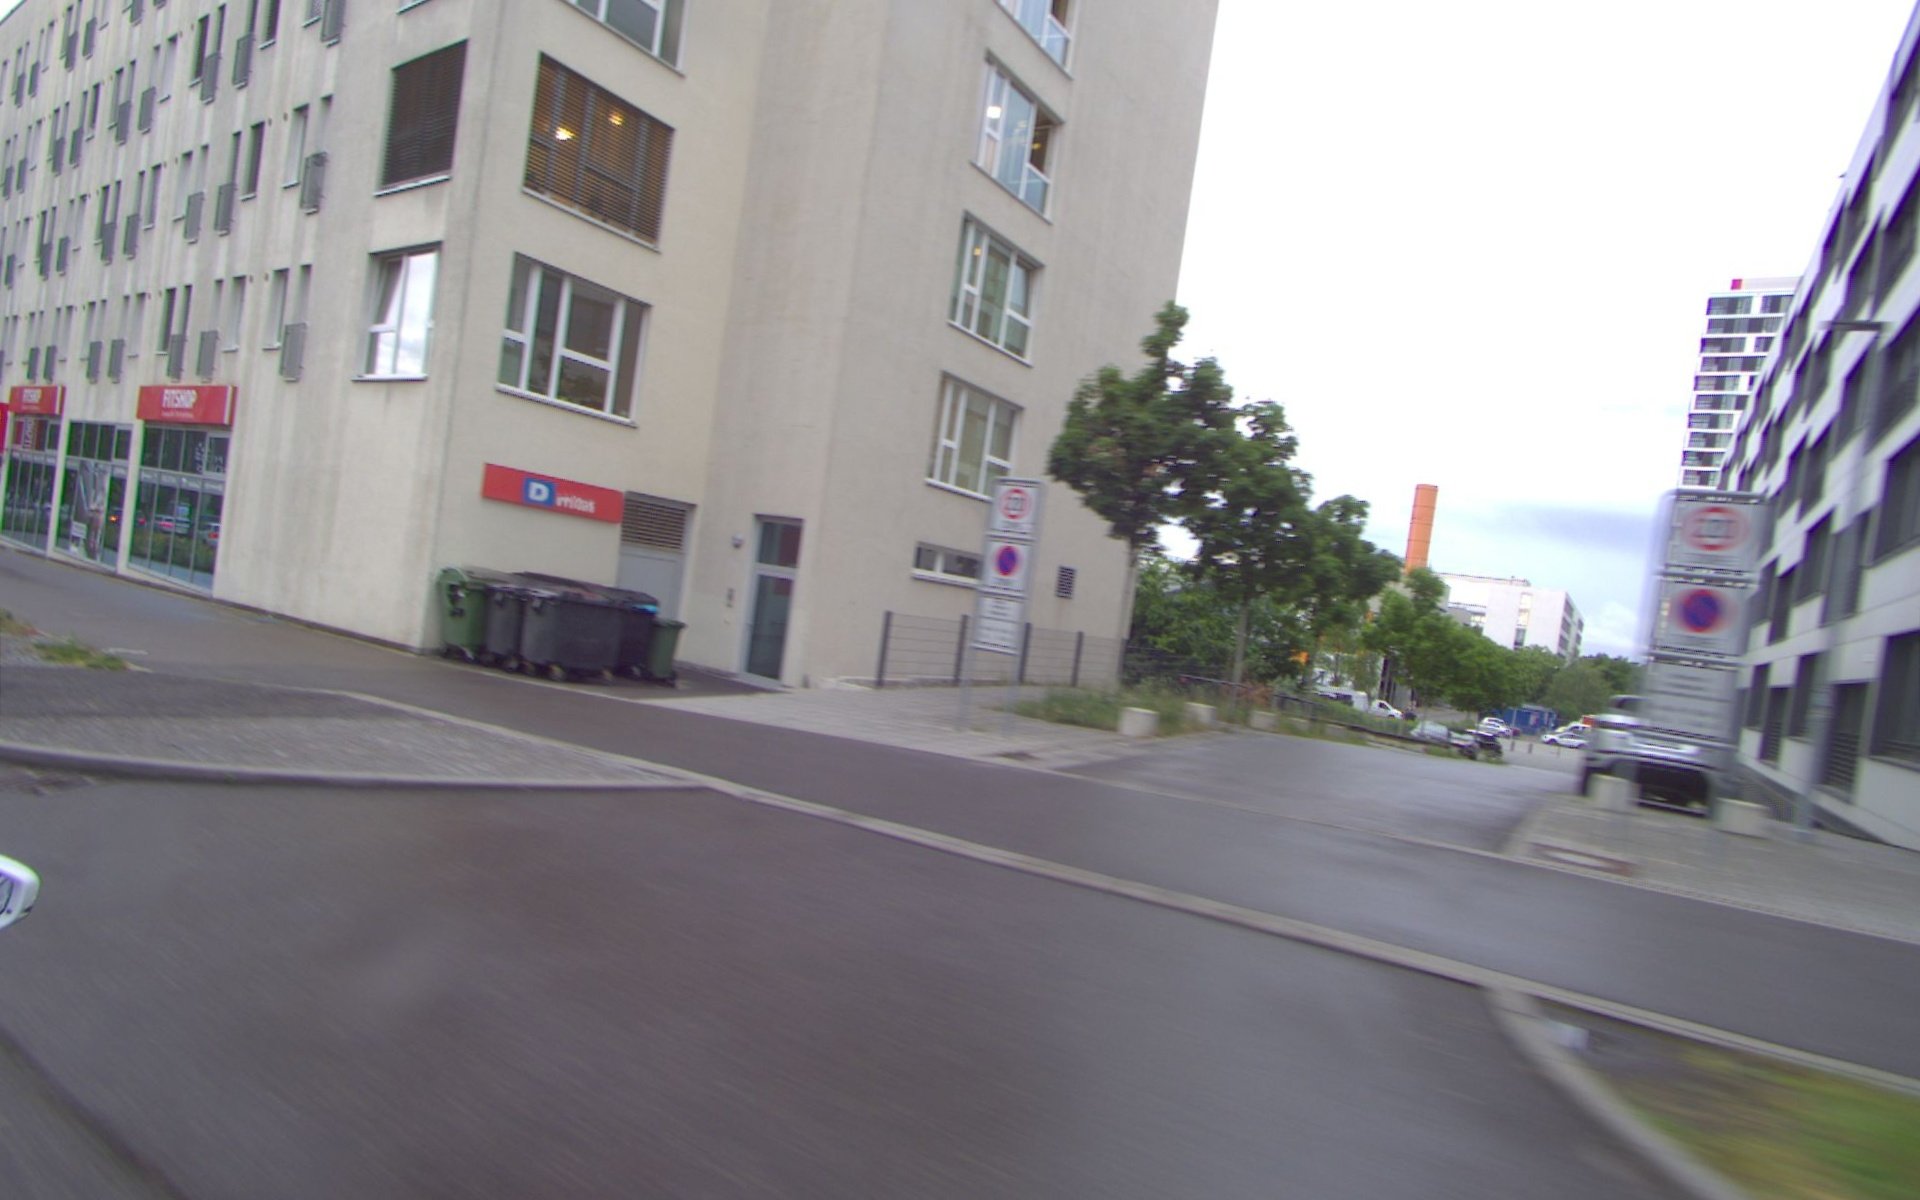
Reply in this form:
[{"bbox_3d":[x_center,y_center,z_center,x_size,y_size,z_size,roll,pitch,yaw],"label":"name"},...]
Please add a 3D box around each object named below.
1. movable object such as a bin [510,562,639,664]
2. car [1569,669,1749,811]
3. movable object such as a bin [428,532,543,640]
[{"bbox_3d":[-5.727,0.206,14.993,1.172,1.336,1.236,6,0,33],"label":"movable object such as a bin"},{"bbox_3d":[10.634,2.163,15.447,1.864,1.632,3.996,7,-4,34],"label":"car"},{"bbox_3d":[-7.548,-0.214,16.020,0.997,1.521,1.175,7,0,34],"label":"movable object such as a bin"}]
